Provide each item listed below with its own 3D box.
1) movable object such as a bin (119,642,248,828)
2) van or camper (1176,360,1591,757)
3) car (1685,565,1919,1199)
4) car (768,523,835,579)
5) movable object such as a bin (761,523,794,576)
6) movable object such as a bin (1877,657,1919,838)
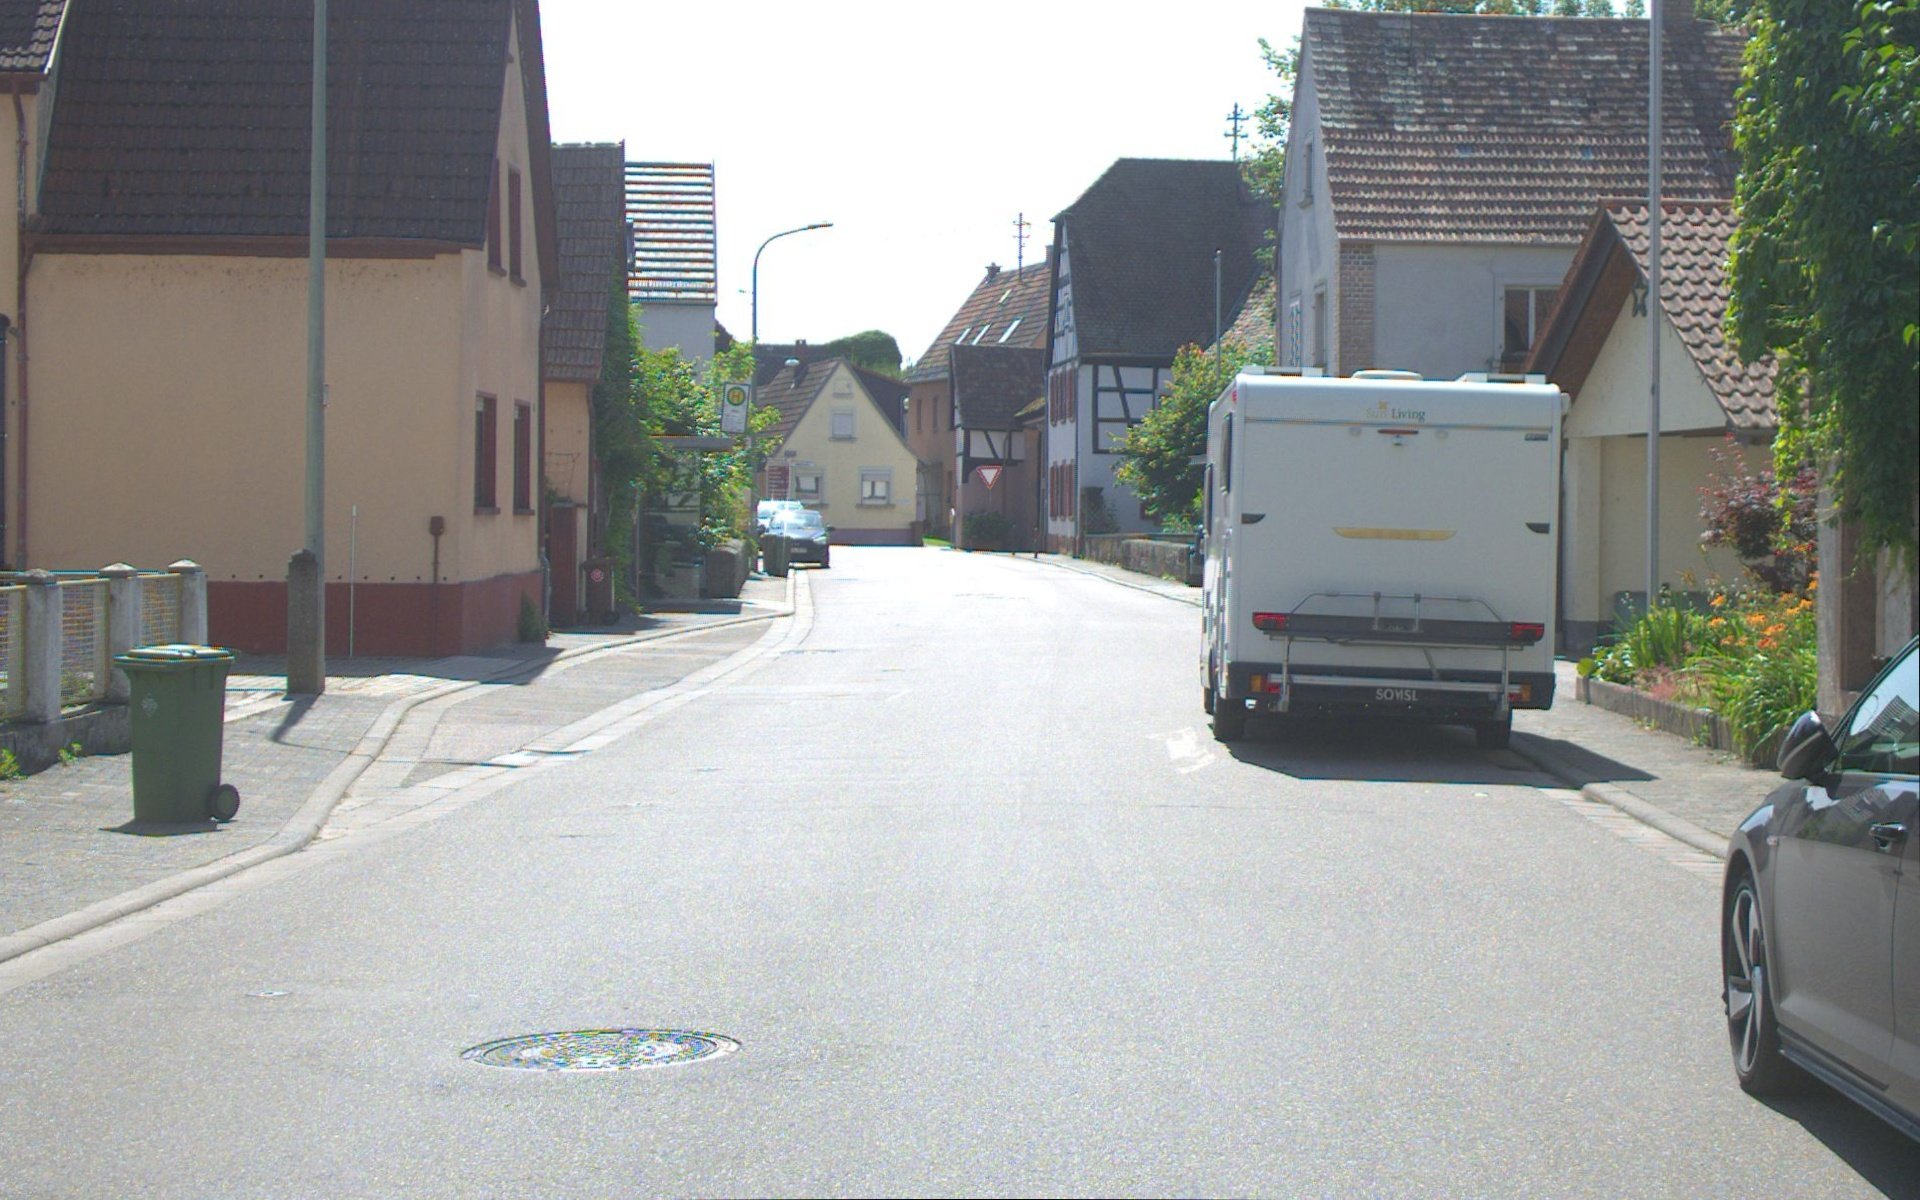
[{"bbox_3d":[-4.141,0.712,18.362,0.539,0.946,0.553,2,1,1],"label":"movable object such as a bin"},{"bbox_3d":[3.030,-0.323,25.736,2.521,2.687,4.555,0,1,0],"label":"van or camper"},{"bbox_3d":[2.891,0.670,7.911,1.712,1.459,4.065,0,1,2],"label":"car"},{"bbox_3d":[-4.108,-1.284,89.370,1.511,1.431,3.511,0,1,1],"label":"car"},{"bbox_3d":[-4.078,-1.137,76.910,0.688,1.181,0.714,0,1,1],"label":"movable object such as a bin"},{"bbox_3d":[5.023,0.761,17.842,0.412,0.909,0.438,0,1,1],"label":"movable object such as a bin"}]
